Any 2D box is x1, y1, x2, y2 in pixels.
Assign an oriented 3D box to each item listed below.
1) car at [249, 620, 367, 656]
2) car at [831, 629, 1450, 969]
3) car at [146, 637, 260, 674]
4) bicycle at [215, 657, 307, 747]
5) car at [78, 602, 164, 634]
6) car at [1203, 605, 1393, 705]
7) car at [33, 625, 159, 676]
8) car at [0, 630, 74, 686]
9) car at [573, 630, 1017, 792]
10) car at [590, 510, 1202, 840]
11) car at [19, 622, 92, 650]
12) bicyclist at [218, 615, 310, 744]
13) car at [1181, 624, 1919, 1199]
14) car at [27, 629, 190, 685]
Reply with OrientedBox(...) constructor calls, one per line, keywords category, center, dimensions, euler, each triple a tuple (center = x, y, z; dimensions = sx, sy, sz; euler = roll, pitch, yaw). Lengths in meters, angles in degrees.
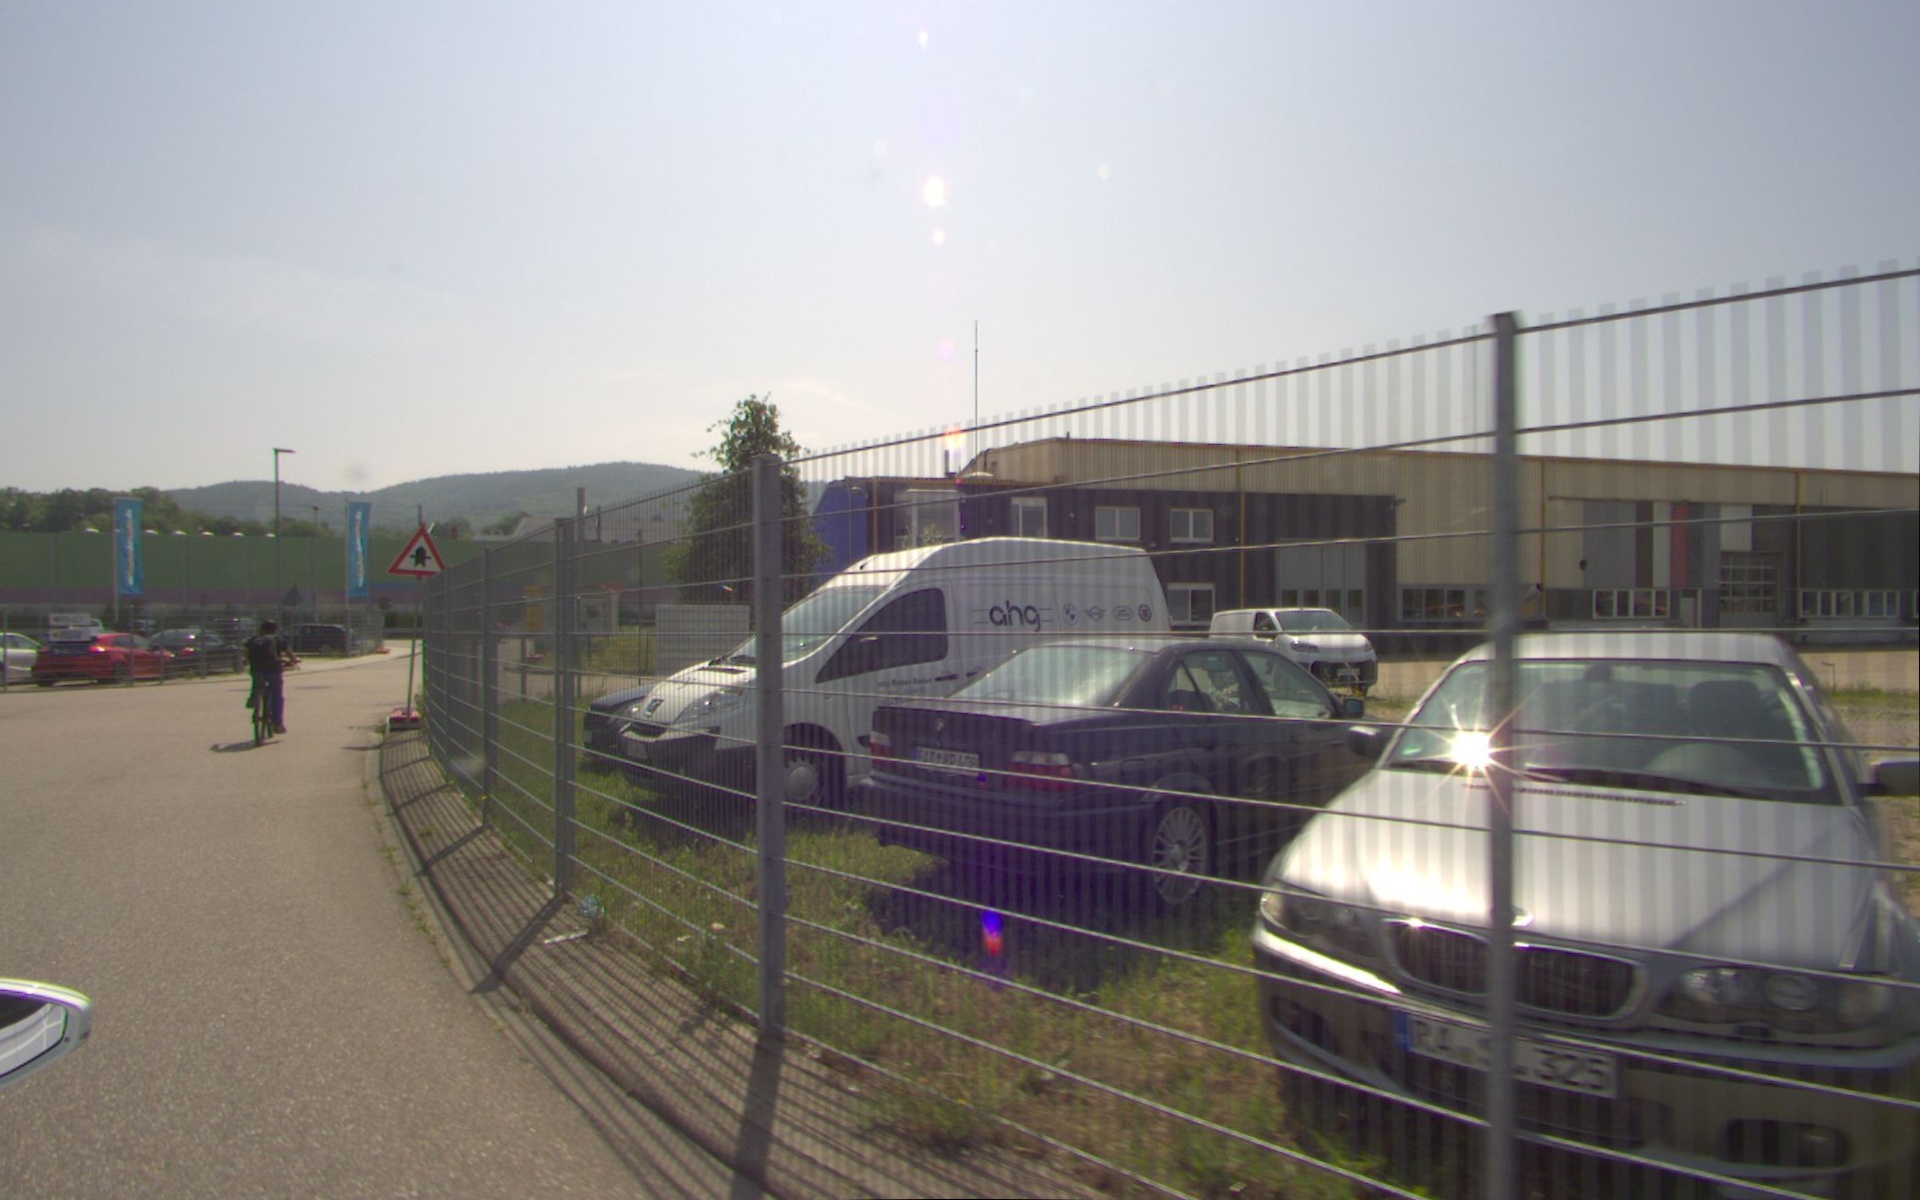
OrientedBox(category="car", center=(-29.077, 1.676, 44.796), dimensions=(3.925, 1.512, 1.998), euler=(0, 0, -11))
OrientedBox(category="car", center=(1.371, 0.893, 6.207), dimensions=(4.165, 1.374, 1.602), euler=(1, -1, -43))
OrientedBox(category="car", center=(-24.495, 1.765, 32.564), dimensions=(1.461, 1.020, 4.108), euler=(0, -1, -14))
OrientedBox(category="bicycle", center=(-9.392, 1.335, 13.520), dimensions=(0.676, 1.065, 1.894), euler=(1, -2, -25))
OrientedBox(category="car", center=(-43.874, 0.955, 52.486), dimensions=(1.964, 1.602, 3.994), euler=(0, -1, -16))
OrientedBox(category="car", center=(7.230, 1.114, 22.081), dimensions=(1.822, 1.924, 5.074), euler=(0, -1, -9))
OrientedBox(category="car", center=(-27.392, 1.547, 31.895), dimensions=(1.461, 1.473, 3.889), euler=(0, -1, -14))
OrientedBox(category="car", center=(-26.307, 1.551, 27.326), dimensions=(1.719, 1.423, 3.599), euler=(0, -1, -14))
OrientedBox(category="car", center=(-1.702, 1.037, 10.816), dimensions=(4.374, 1.378, 1.896), euler=(0, -1, -32))
OrientedBox(category="car", center=(-0.335, 0.529, 8.925), dimensions=(5.276, 2.177, 1.894), euler=(0, -1, -36))
OrientedBox(category="car", center=(-56.427, 2.226, 62.557), dimensions=(1.673, 1.678, 3.996), euler=(0, -1, -13))
OrientedBox(category="bicyclist", center=(-9.321, 1.039, 13.452), dimensions=(0.832, 1.639, 1.035), euler=(1, -2, -26))
OrientedBox(category="car", center=(2.625, 0.818, 4.061), dimensions=(1.597, 1.413, 4.325), euler=(-1, -1, 40))
OrientedBox(category="car", center=(-23.735, 1.539, 28.116), dimensions=(1.842, 1.404, 4.108), euler=(0, -1, -14))
